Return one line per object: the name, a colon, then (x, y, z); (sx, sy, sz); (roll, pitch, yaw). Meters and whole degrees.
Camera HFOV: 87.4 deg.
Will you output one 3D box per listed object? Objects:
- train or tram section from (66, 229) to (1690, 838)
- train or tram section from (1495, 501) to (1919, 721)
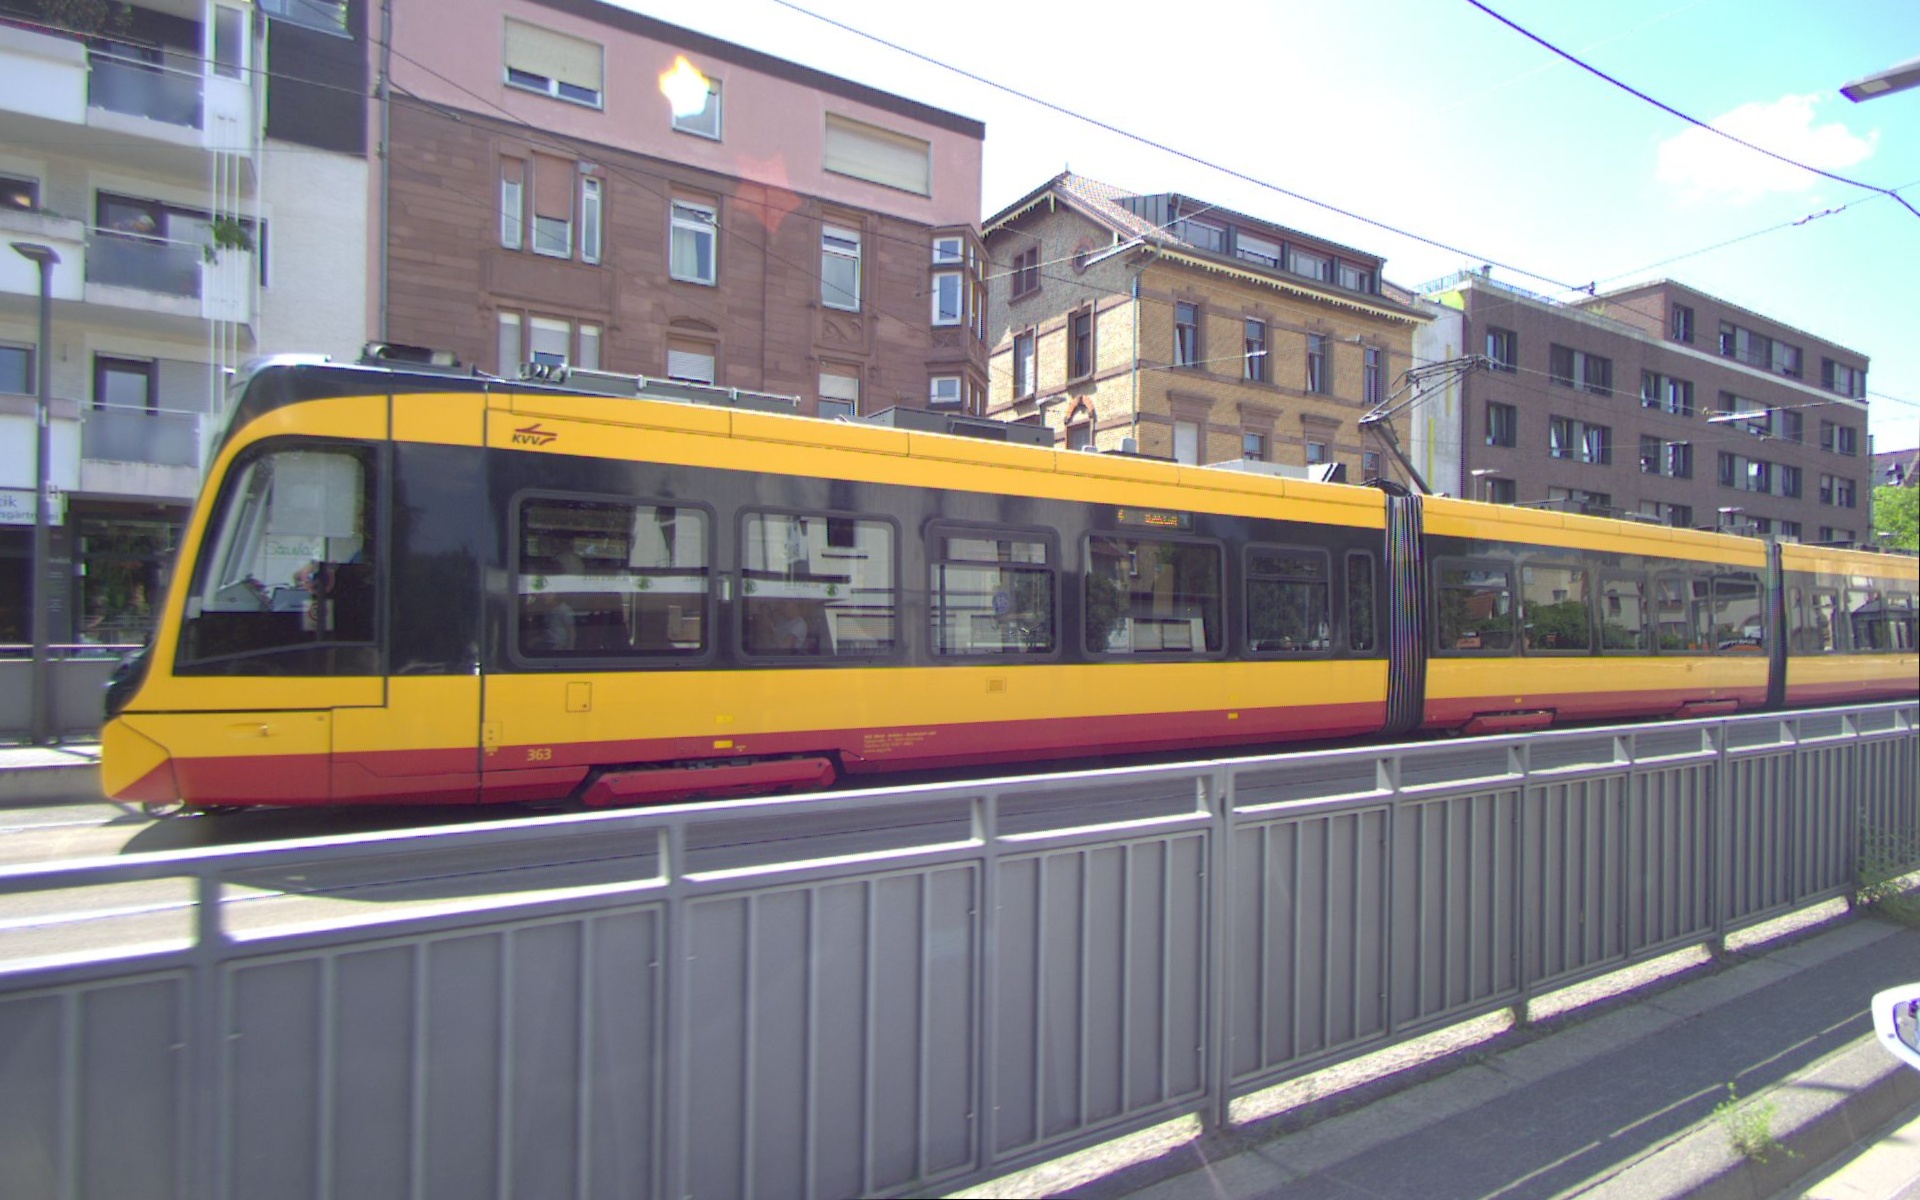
train or tram section: (2.586, -0.057, 12.649); (20.269, 3.614, 3.234); (2, -2, -32)
train or tram section: (17.976, 0.463, 22.115); (16.165, 3.614, 3.218); (2, -2, -32)
